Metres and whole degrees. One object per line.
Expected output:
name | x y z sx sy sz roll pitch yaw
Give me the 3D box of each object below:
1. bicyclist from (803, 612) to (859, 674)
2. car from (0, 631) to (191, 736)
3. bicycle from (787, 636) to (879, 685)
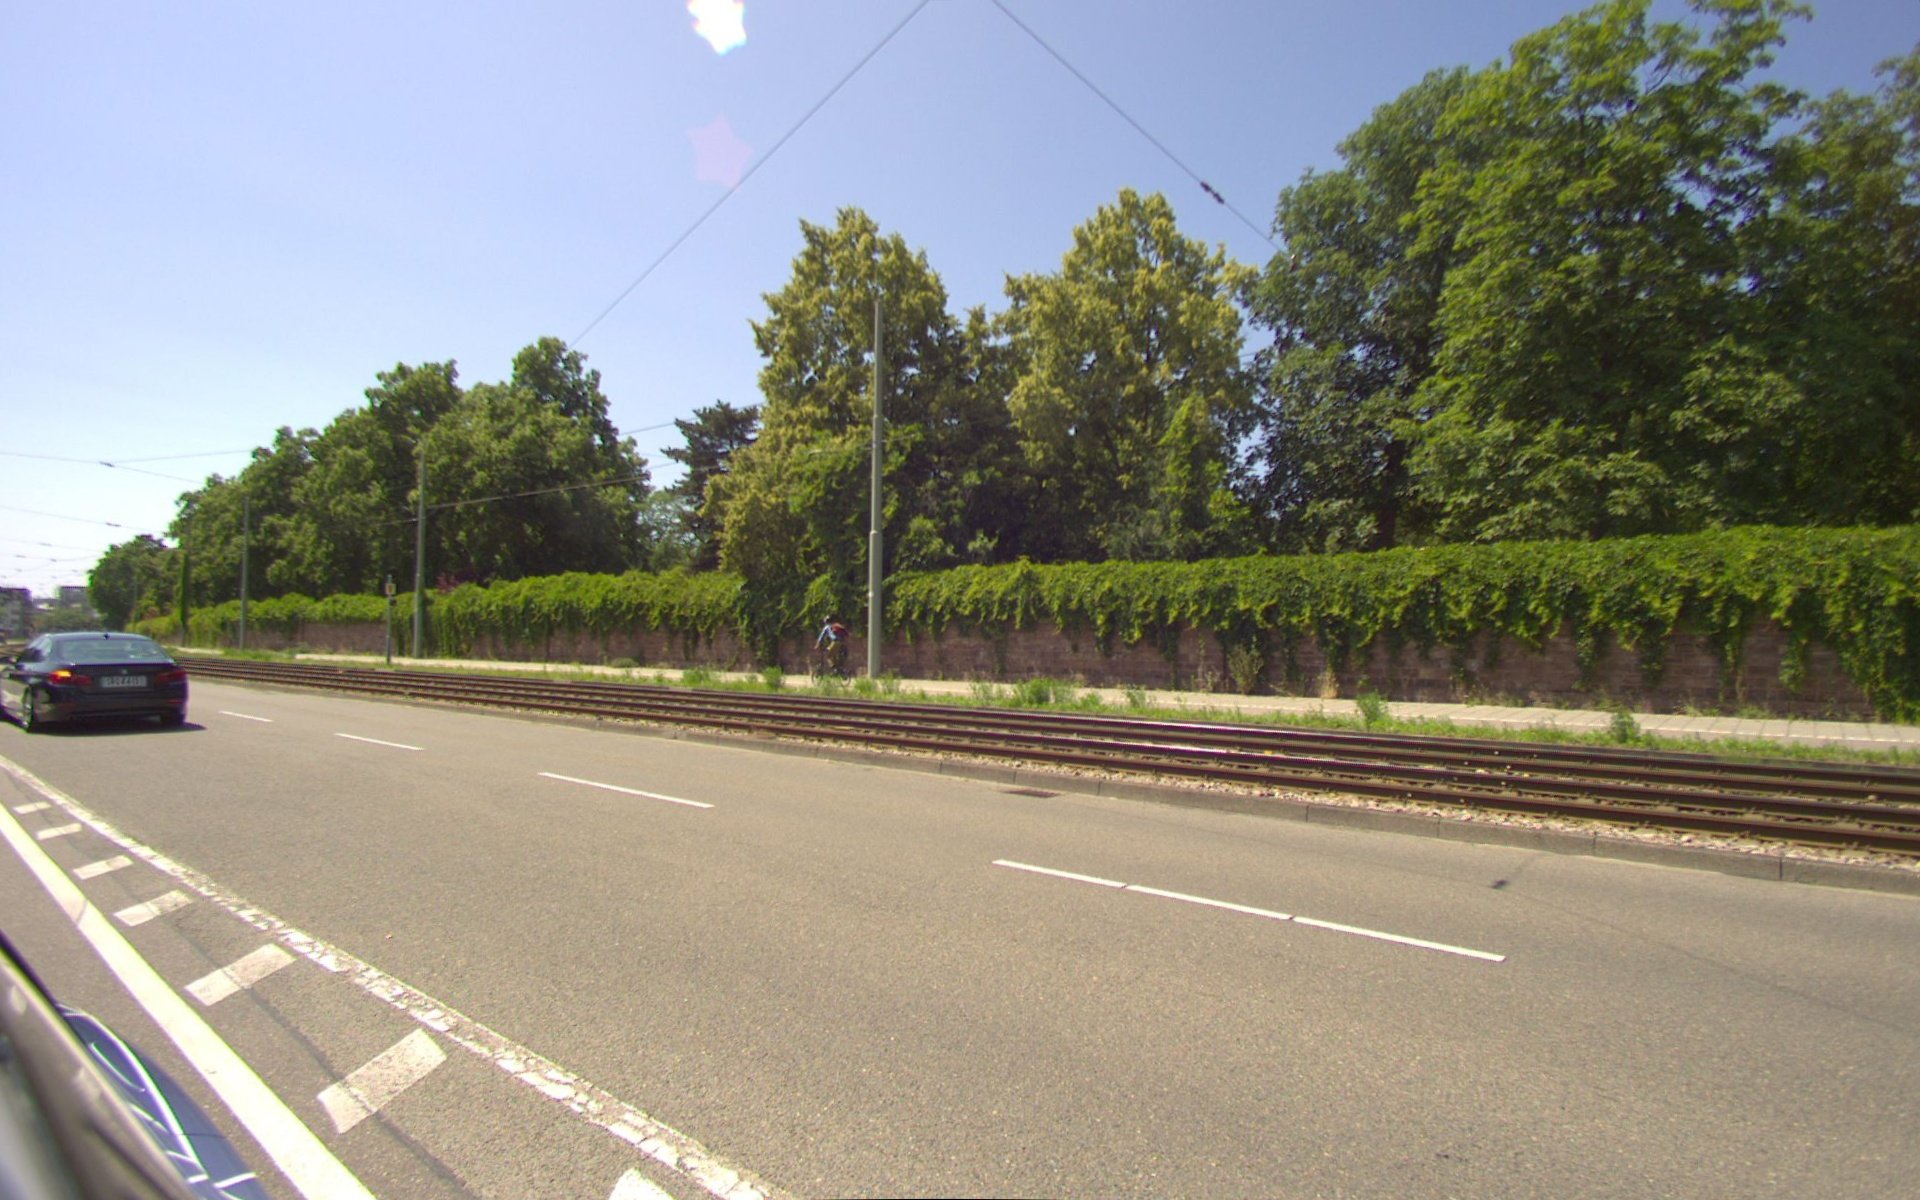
bicyclist | -3.254 1.076 25.497 1.000 1.497 0.983 -2 -3 44
car | -13.697 1.200 15.746 4.444 1.410 1.775 -2 -3 40
bicycle | -3.212 1.482 25.437 2.686 1.165 0.819 -2 -3 45
